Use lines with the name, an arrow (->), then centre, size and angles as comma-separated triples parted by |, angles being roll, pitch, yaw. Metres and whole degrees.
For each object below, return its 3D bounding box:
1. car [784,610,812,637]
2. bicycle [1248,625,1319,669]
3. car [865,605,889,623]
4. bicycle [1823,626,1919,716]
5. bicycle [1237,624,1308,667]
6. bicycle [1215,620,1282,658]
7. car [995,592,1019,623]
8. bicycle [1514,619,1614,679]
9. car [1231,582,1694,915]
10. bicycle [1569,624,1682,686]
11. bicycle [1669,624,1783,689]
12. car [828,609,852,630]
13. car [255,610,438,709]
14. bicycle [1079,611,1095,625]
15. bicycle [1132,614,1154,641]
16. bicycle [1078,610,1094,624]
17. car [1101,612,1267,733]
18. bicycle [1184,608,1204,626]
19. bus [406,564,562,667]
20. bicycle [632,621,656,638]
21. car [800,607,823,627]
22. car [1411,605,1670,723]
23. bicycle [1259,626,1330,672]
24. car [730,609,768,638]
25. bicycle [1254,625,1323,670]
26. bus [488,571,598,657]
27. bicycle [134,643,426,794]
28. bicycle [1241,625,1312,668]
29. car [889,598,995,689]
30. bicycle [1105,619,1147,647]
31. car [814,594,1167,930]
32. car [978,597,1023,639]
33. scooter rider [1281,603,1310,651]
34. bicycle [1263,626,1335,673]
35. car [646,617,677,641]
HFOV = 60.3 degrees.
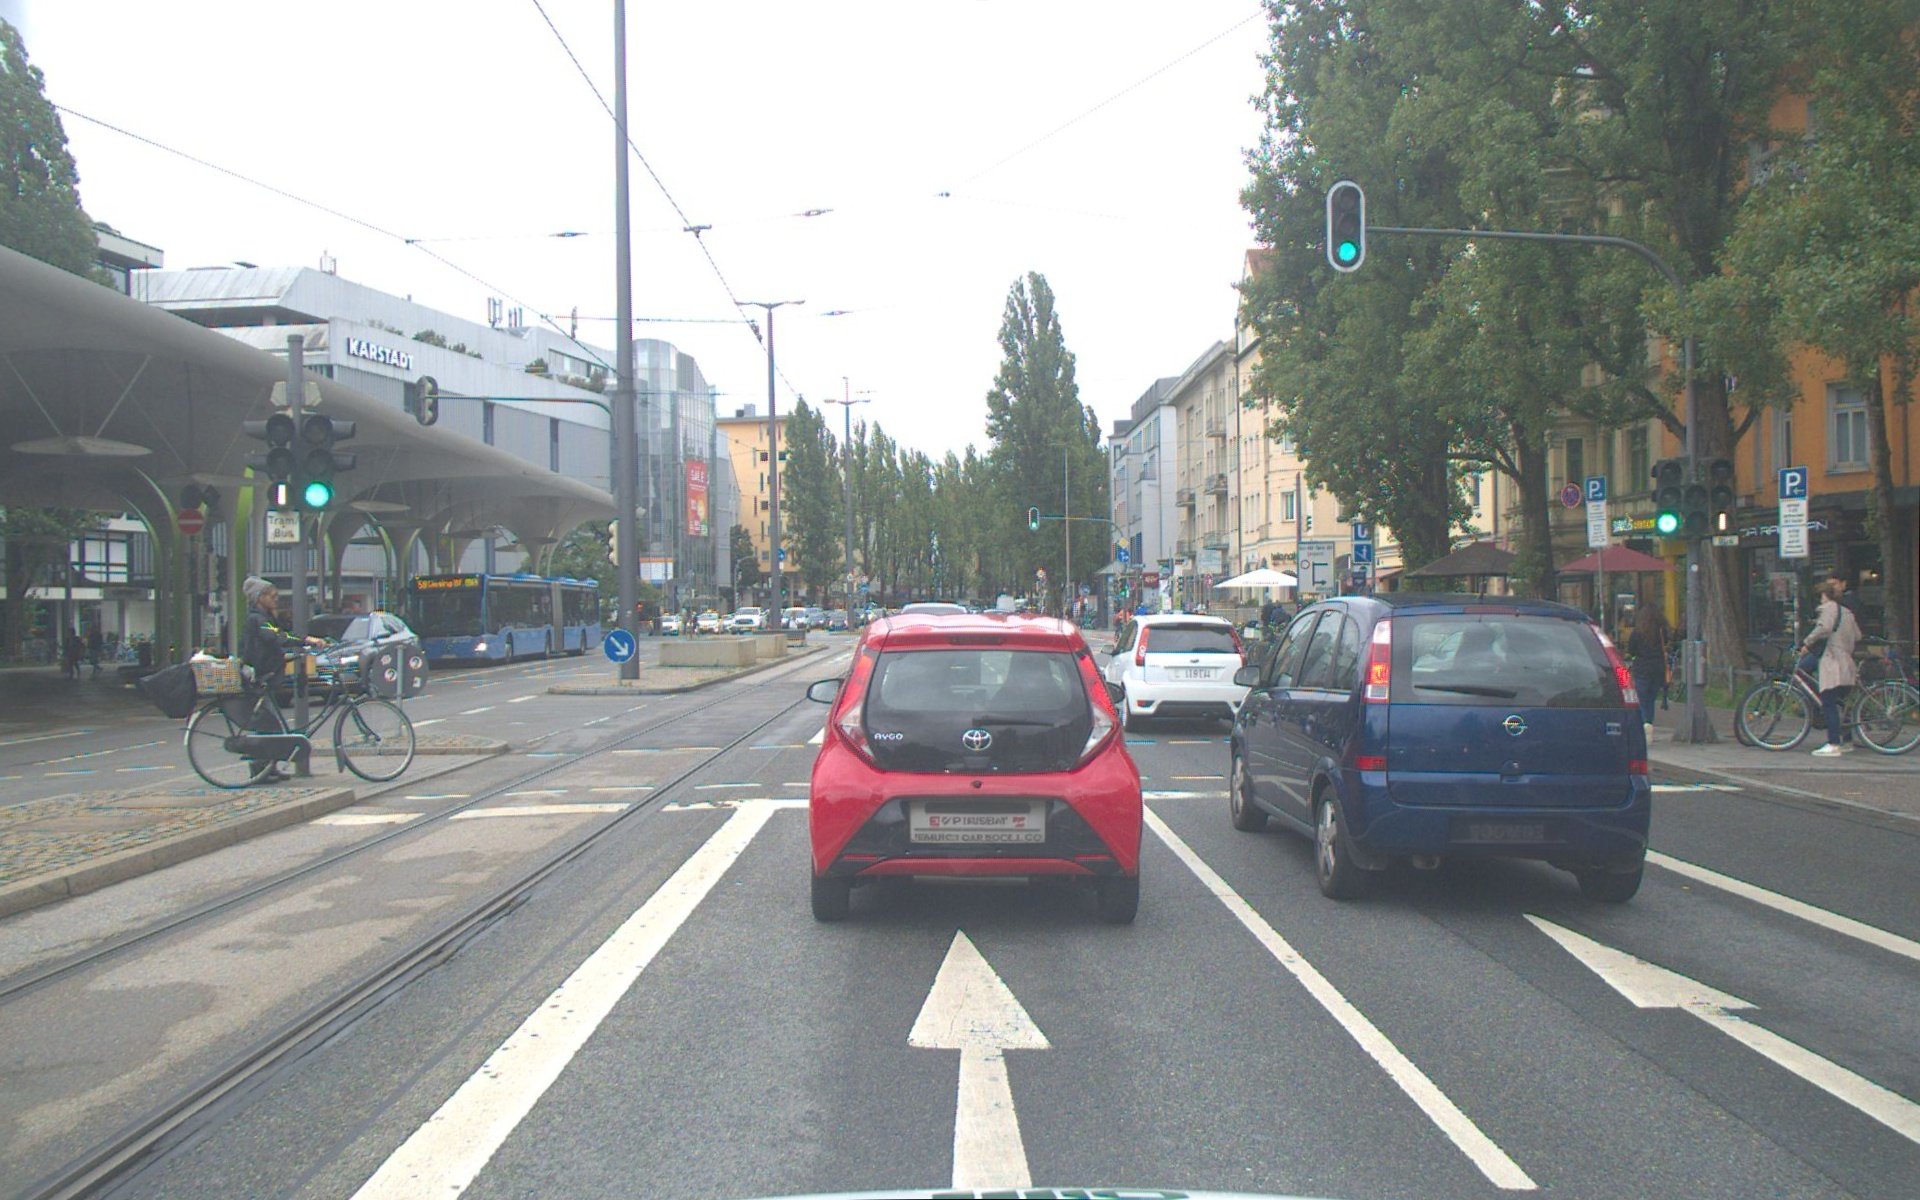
car -> -11.677, 1.679, 119.373 | 1.750, 1.887, 4.215 | -2, 0, -3
bicycle -> 7.919, 1.141, 40.498 | 1.811, 1.013, 0.373 | 1, 1, 45
car -> -8.401, 1.408, 168.452 | 1.706, 1.699, 4.735 | -2, 0, 5
bicycle -> 12.199, 0.923, 21.444 | 1.760, 1.129, 0.447 | 1, 0, 1
bicycle -> 7.925, 1.146, 41.929 | 1.806, 1.013, 0.373 | 1, 1, 38
bicycle -> 7.960, 1.060, 45.630 | 1.799, 1.013, 0.375 | 0, 1, 24
car -> 4.413, 0.675, 155.299 | 2.064, 2.766, 4.803 | -1, 0, 0
bicycle -> 12.519, 1.020, 34.321 | 1.848, 1.194, 0.582 | -1, -1, 1
car -> 2.757, 0.729, 9.888 | 1.668, 1.617, 3.556 | 1, 0, 0
bicycle -> 11.944, 0.977, 29.697 | 1.850, 1.072, 0.458 | -1, -1, -4
bicycle -> 13.775, 1.011, 29.771 | 1.850, 1.133, 0.458 | -1, -1, -4
car -> -8.880, 1.435, 122.663 | 1.514, 1.471, 3.538 | -2, 0, -1
car -> -11.692, 1.077, 31.870 | 1.825, 1.667, 4.676 | -3, 0, -2
bicycle -> 9.262, 1.287, 120.819 | 1.156, 0.980, 0.369 | -1, 0, 3
bicycle -> 9.137, 1.378, 82.679 | 0.602, 1.287, 2.516 | -1, 0, -6
bicycle -> 9.253, 1.269, 121.363 | 1.157, 0.980, 0.369 | -1, 0, -2
car -> 2.868, 0.895, 21.843 | 1.665, 1.451, 3.496 | 0, 0, -1
bicycle -> 14.093, 1.032, 99.500 | 0.486, 1.077, 1.858 | -1, 0, -15
bus -> -16.056, 0.514, 56.608 | 2.607, 3.060, 10.509 | -3, 0, -3
bicycle -> -21.271, 1.962, 111.454 | 1.541, 1.131, 0.373 | -1, 0, 3
car -> -11.877, 1.349, 132.587 | 1.644, 1.420, 4.230 | -2, 0, -3
car -> 8.277, 0.852, 24.080 | 1.954, 1.465, 4.527 | -2, 0, -3
bicycle -> 7.890, 1.135, 39.039 | 0.372, 1.013, 1.816 | -1, 1, -39
car -> -14.966, 1.668, 117.527 | 2.132, 1.920, 6.153 | -1, 0, -2
bicycle -> 7.903, 1.138, 39.803 | 0.372, 1.013, 1.816 | -1, 1, -39
bus -> -16.415, 0.541, 65.597 | 2.607, 3.060, 7.509 | -3, 0, -3
bicycle -> -5.634, 0.949, 13.779 | 2.201, 1.170, 0.501 | 1, -1, -31
bicycle -> 7.873, 1.143, 41.247 | 1.809, 1.013, 0.373 | 1, 1, 42
car -> -0.364, 0.817, 32.988 | 1.953, 1.646, 3.999 | -1, 0, -1
bicycle -> 7.966, 1.570, 79.480 | 0.608, 1.287, 2.491 | -1, 0, -32
car -> 0.153, 0.731, 9.027 | 1.572, 1.487, 3.130 | 1, 0, 0
car -> 1.915, 0.830, 78.794 | 1.953, 1.870, 3.999 | -1, 0, -1
scooter rider -> 10.023, 0.811, 49.425 | 0.686, 1.413, 0.643 | -1, 0, -3
bicycle -> 7.851, 1.132, 38.398 | 0.372, 1.013, 1.816 | -1, 1, -39
car -> -21.704, 2.085, 120.283 | 1.959, 1.563, 4.400 | -2, 0, -13
